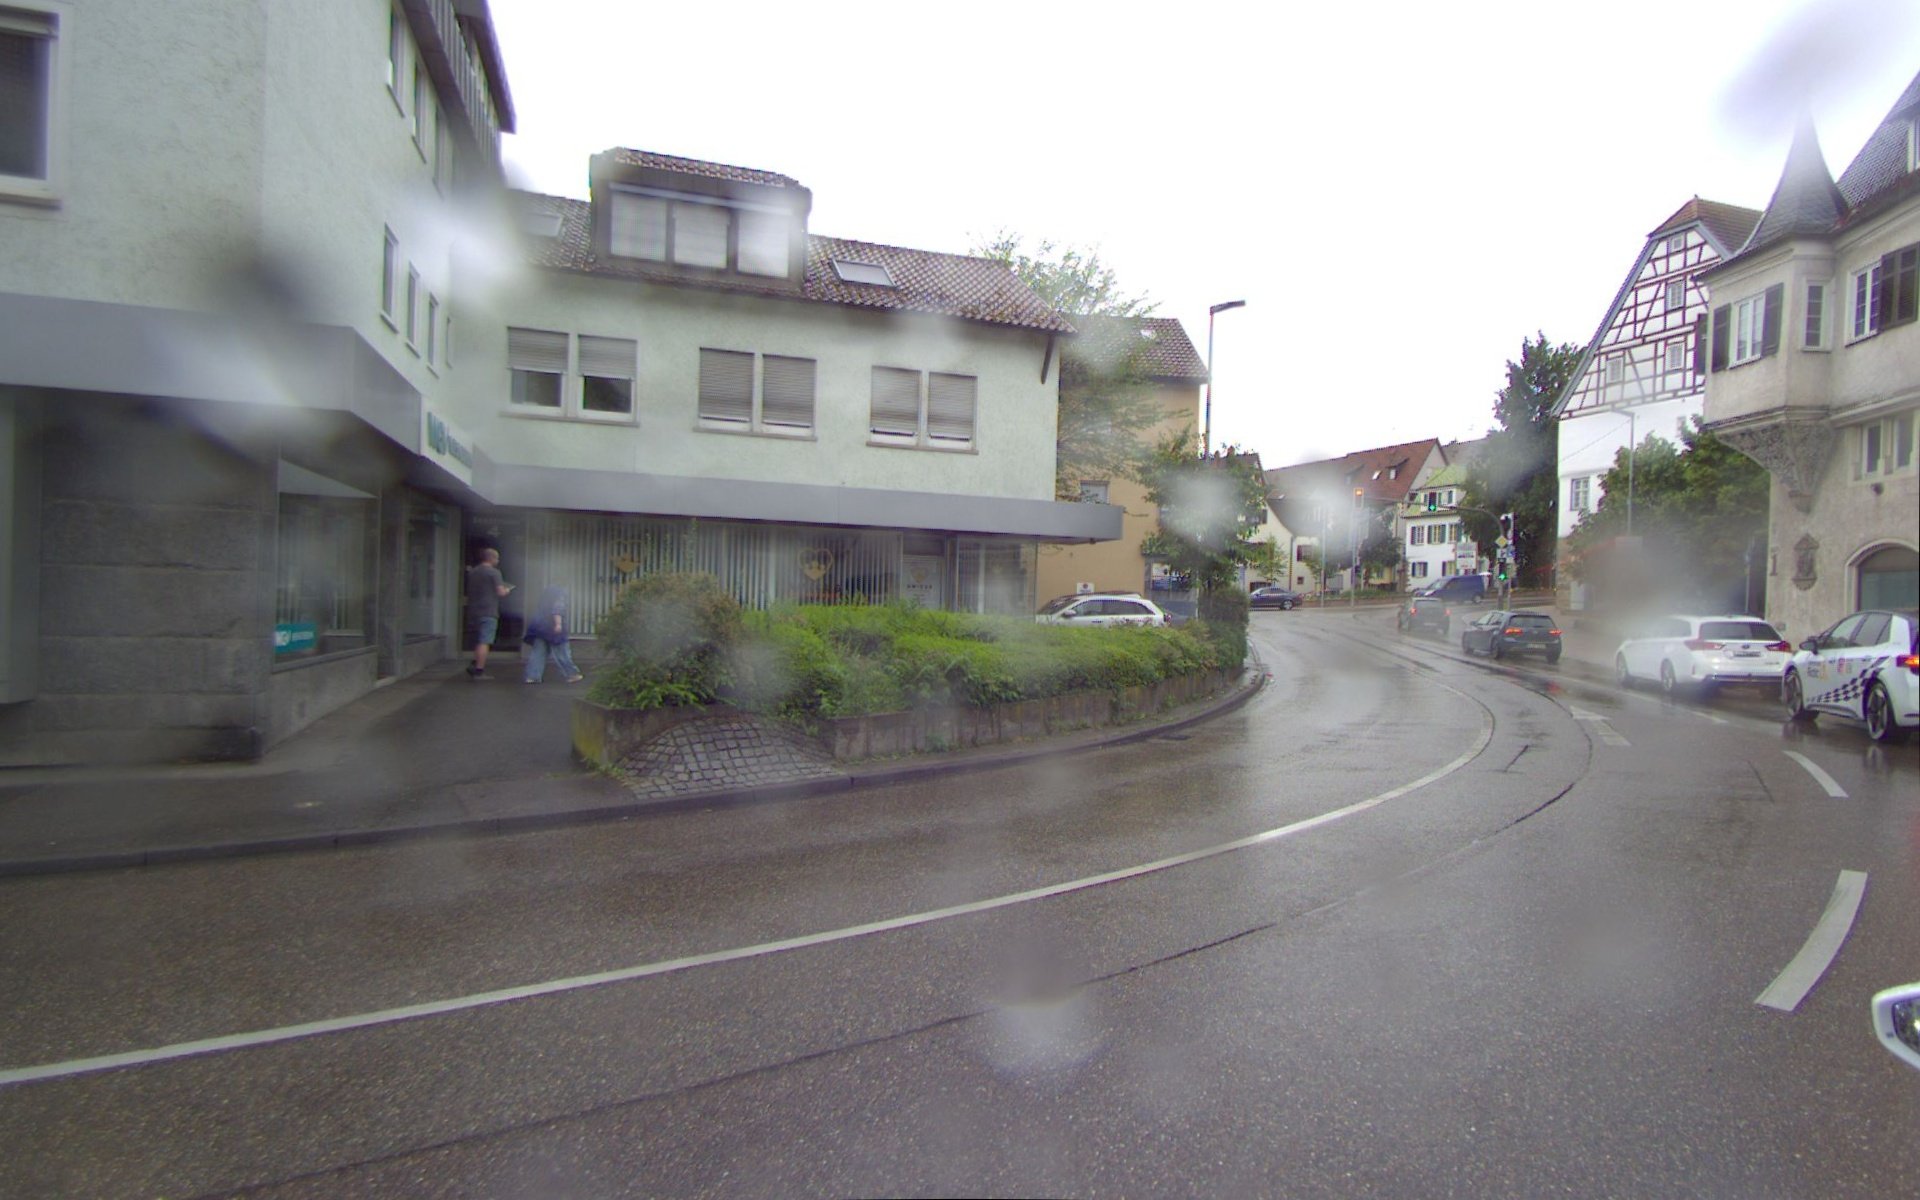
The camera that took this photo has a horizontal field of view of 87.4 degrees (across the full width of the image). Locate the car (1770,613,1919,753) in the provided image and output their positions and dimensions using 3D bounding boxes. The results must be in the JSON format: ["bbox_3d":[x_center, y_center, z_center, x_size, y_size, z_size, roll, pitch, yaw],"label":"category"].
[{"bbox_3d":[11.666,0.924,12.261,1.827,1.492,3.997,1,-1,25],"label":"car"}]

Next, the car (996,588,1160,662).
[{"bbox_3d":[3.718,0.762,32.112,4.840,1.850,1.961,-4,3,-4],"label":"car"}]

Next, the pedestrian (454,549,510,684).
[{"bbox_3d":[-6.706,0.221,14.116,0.664,1.844,0.614,1,1,-24],"label":"pedestrian"}]

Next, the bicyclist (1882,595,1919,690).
[{"bbox_3d":[16.062,0.699,16.631,0.671,1.538,1.031,1,1,8],"label":"bicyclist"}]

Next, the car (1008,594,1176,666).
[{"bbox_3d":[3.181,0.721,24.576,3.582,1.651,1.995,1,0,-13],"label":"car"}]

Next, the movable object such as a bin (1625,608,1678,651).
[{"bbox_3d":[22.528,0.955,32.758,1.135,1.330,1.186,1,1,20],"label":"movable object such as a bin"}]

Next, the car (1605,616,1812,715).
[{"bbox_3d":[14.010,1.130,19.123,1.854,1.617,4.326,1,-1,18],"label":"car"}]

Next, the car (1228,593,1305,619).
[{"bbox_3d":[19.334,0.366,63.521,4.403,1.566,1.865,1,0,8],"label":"car"}]

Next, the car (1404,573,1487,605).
[{"bbox_3d":[30.533,-0.700,63.236,4.296,1.907,1.998,1,0,-7],"label":"car"}]

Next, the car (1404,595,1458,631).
[{"bbox_3d":[20.776,0.579,44.251,1.562,1.544,3.421,1,-1,35],"label":"car"}]

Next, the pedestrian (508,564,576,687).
[{"bbox_3d":[-5.923,0.353,14.234,0.851,1.694,0.614,1,1,-24],"label":"pedestrian"}]

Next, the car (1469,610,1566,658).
[{"bbox_3d":[16.954,0.997,30.733,1.961,1.319,4.000,1,-1,20],"label":"car"}]
